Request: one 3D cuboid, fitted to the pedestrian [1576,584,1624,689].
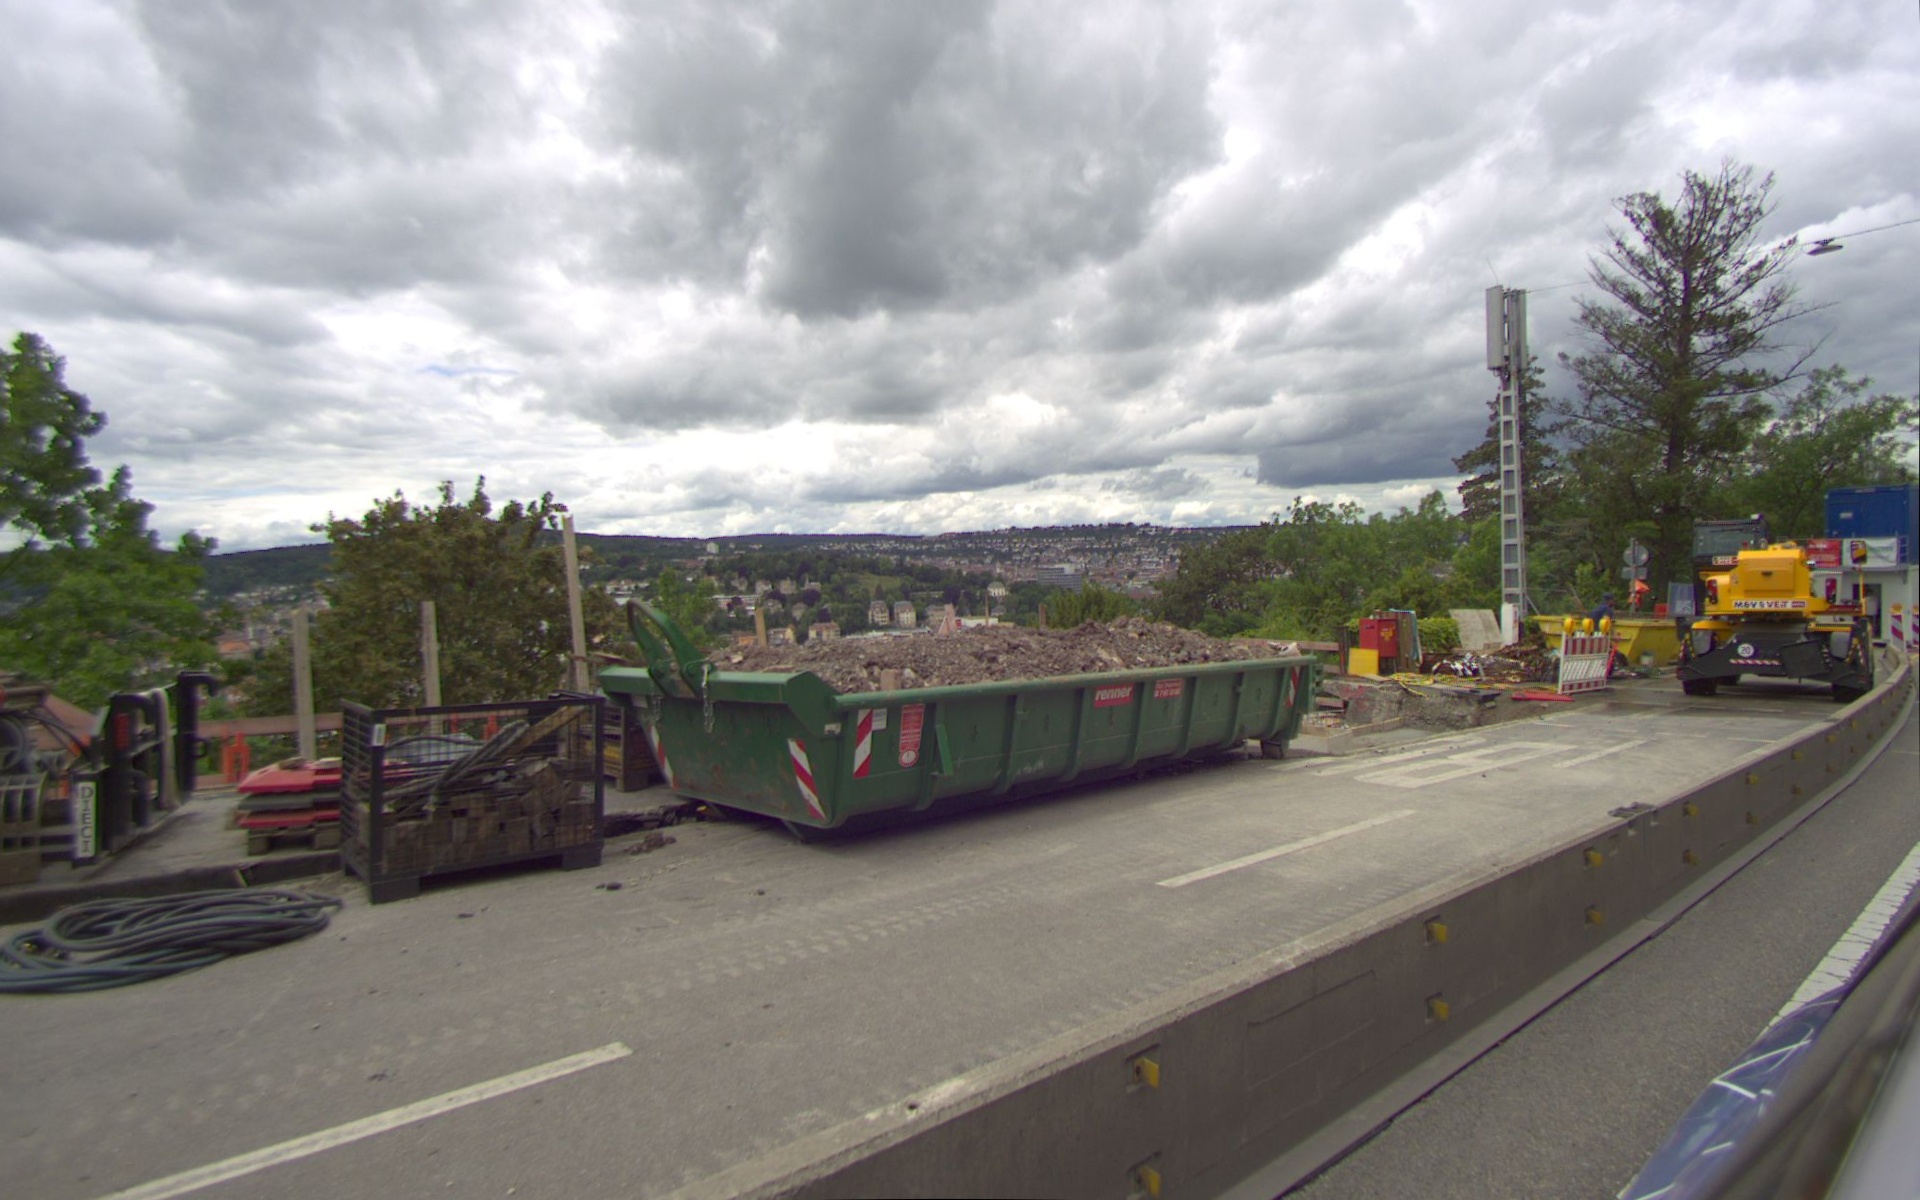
[{"bbox_3d":[11.382,0.629,17.988,0.687,1.818,0.532,0,-1,36],"label":"pedestrian"}]

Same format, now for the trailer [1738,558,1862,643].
[{"bbox_3d":[28.027,-0.024,33.721,5.025,2.581,2.113,0,2,-38],"label":"trailer"}]

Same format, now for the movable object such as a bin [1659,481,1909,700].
[{"bbox_3d":[14.985,-0.132,18.136,2.812,3.110,7.698,-1,0,44],"label":"movable object such as a bin"}]

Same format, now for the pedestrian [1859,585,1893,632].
[{"bbox_3d":[33.392,0.311,36.893,0.641,1.683,0.647,-1,-1,15],"label":"pedestrian"}]

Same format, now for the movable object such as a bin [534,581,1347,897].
[{"bbox_3d":[0.454,0.683,8.366,6.981,1.581,2.376,0,0,-44],"label":"movable object such as a bin"}]
